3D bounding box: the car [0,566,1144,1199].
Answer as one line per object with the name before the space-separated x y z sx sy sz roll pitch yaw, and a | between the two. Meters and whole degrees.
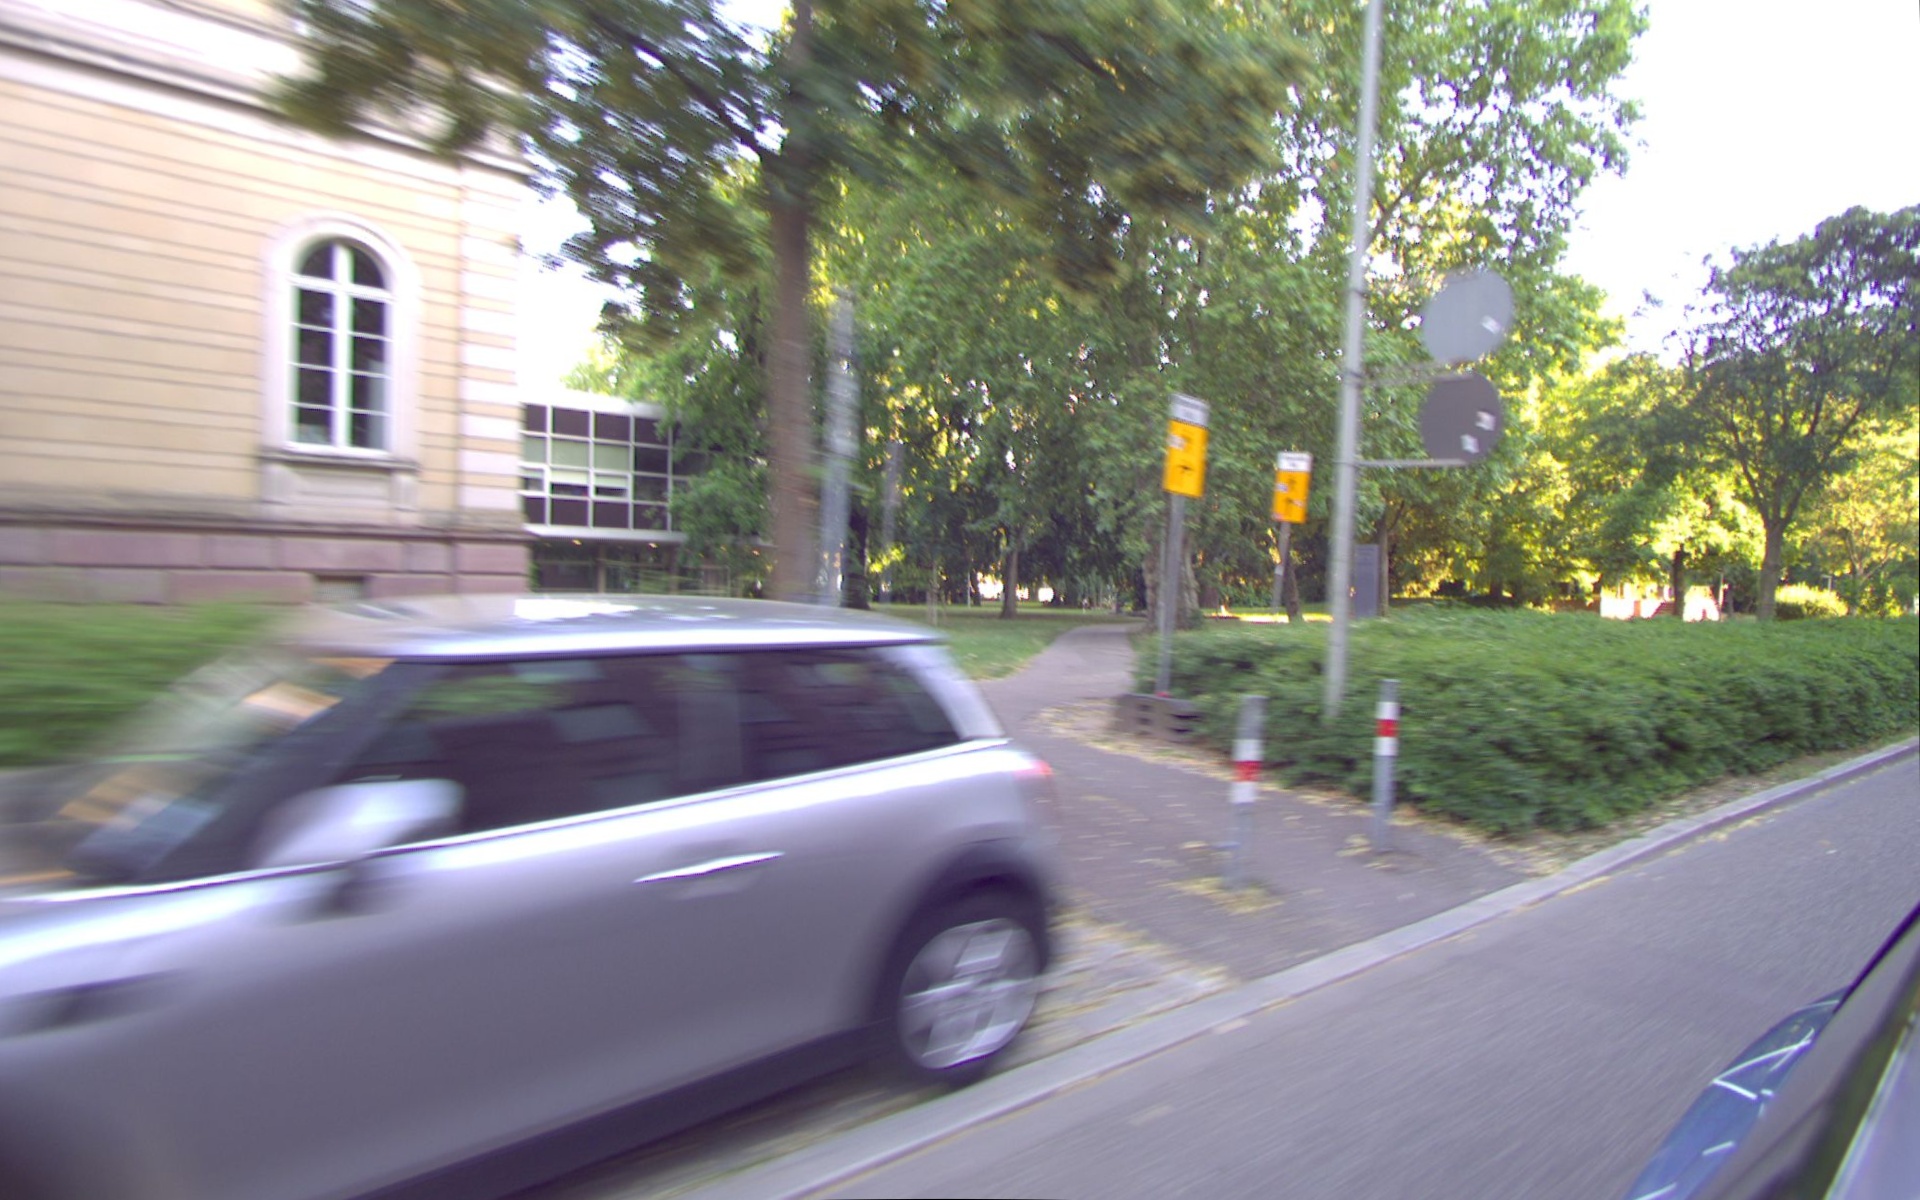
car | -1.432 0.642 2.814 3.930 1.456 1.727 -1 2 -40
